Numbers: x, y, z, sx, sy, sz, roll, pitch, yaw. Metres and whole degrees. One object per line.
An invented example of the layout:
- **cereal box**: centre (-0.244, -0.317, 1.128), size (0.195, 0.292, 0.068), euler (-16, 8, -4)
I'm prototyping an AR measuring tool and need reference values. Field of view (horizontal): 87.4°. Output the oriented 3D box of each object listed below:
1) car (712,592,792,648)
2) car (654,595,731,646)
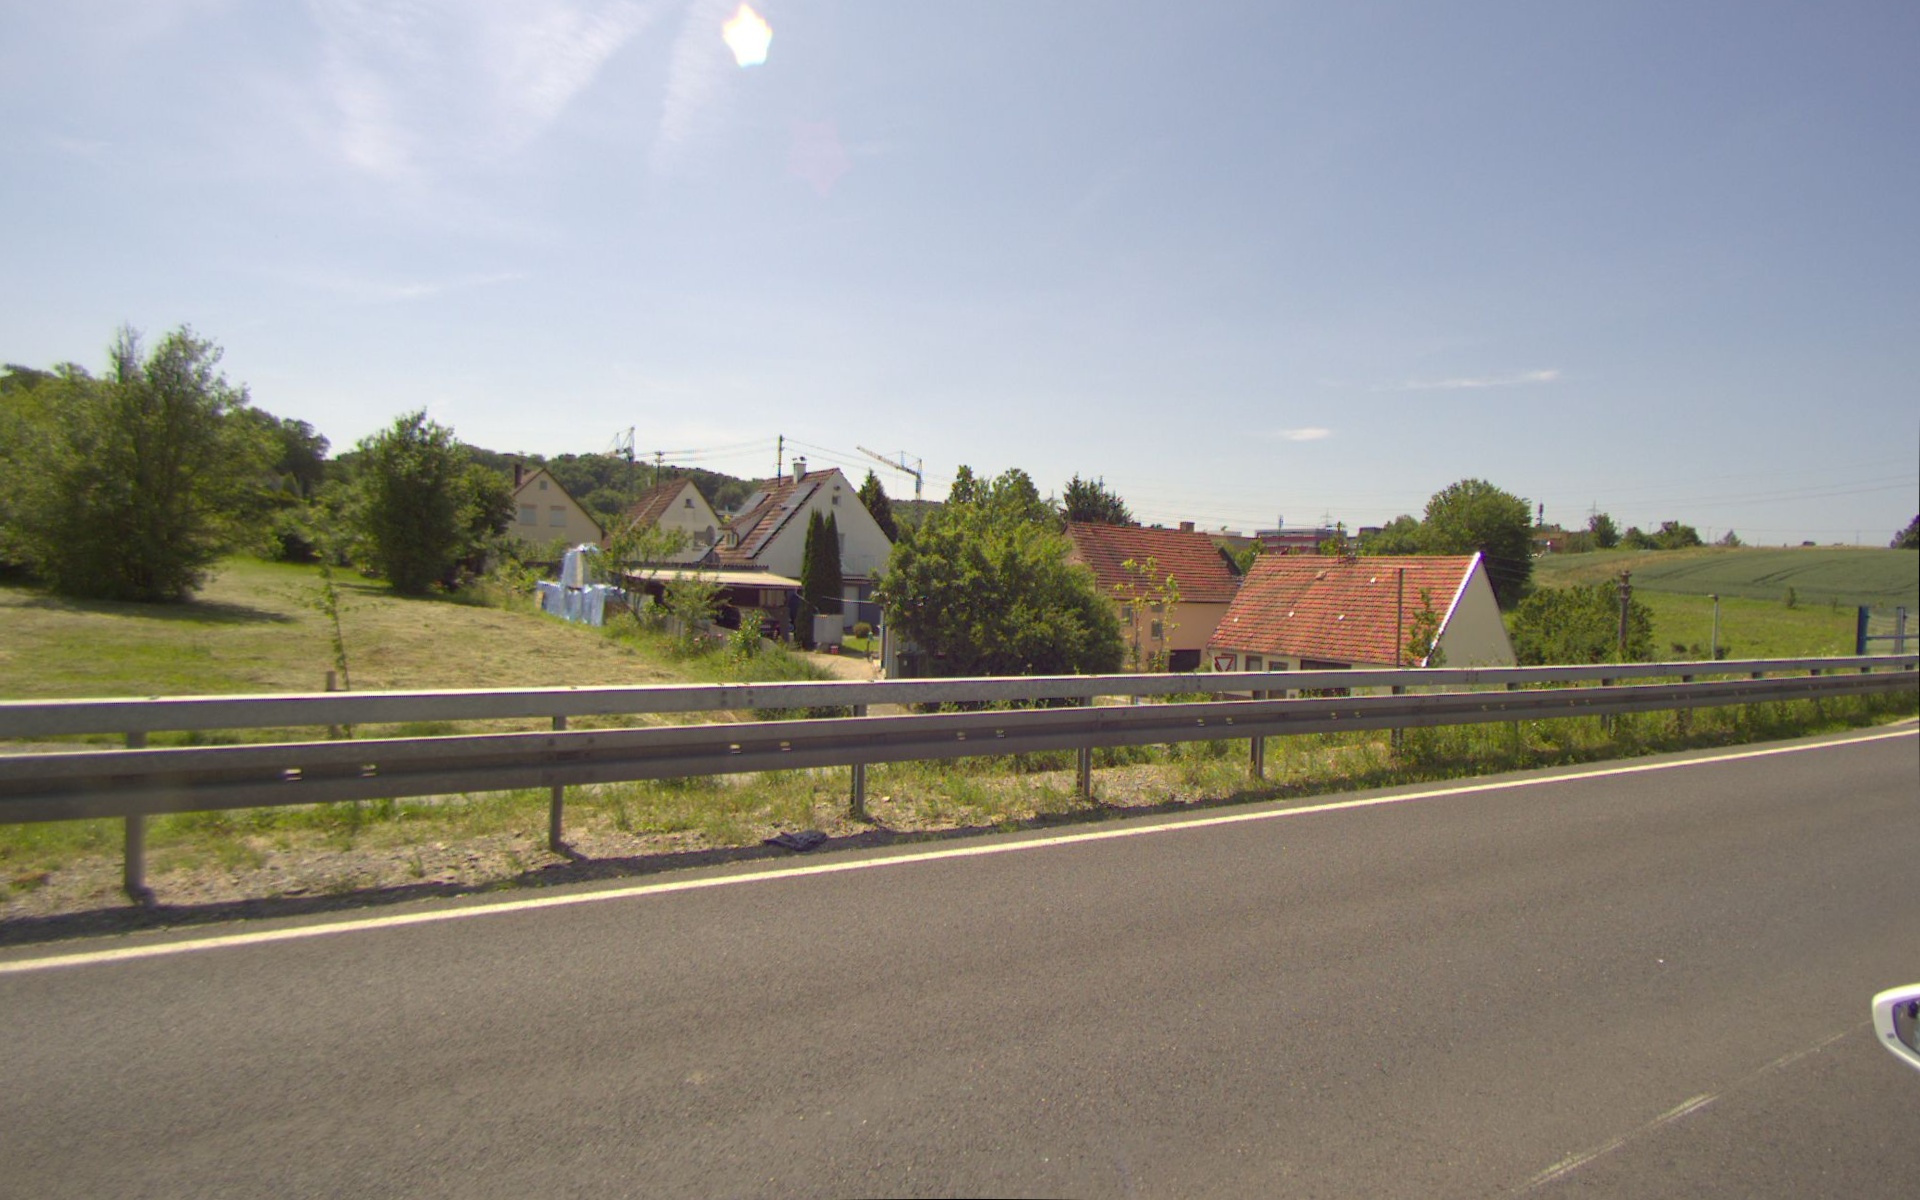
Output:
- **car**: centre (-8.177, 0.733, 39.248), size (1.842, 1.781, 3.965), euler (1, 4, -31)
- **car**: centre (-10.192, 0.747, 38.028), size (1.763, 1.535, 3.965), euler (1, 4, -31)
